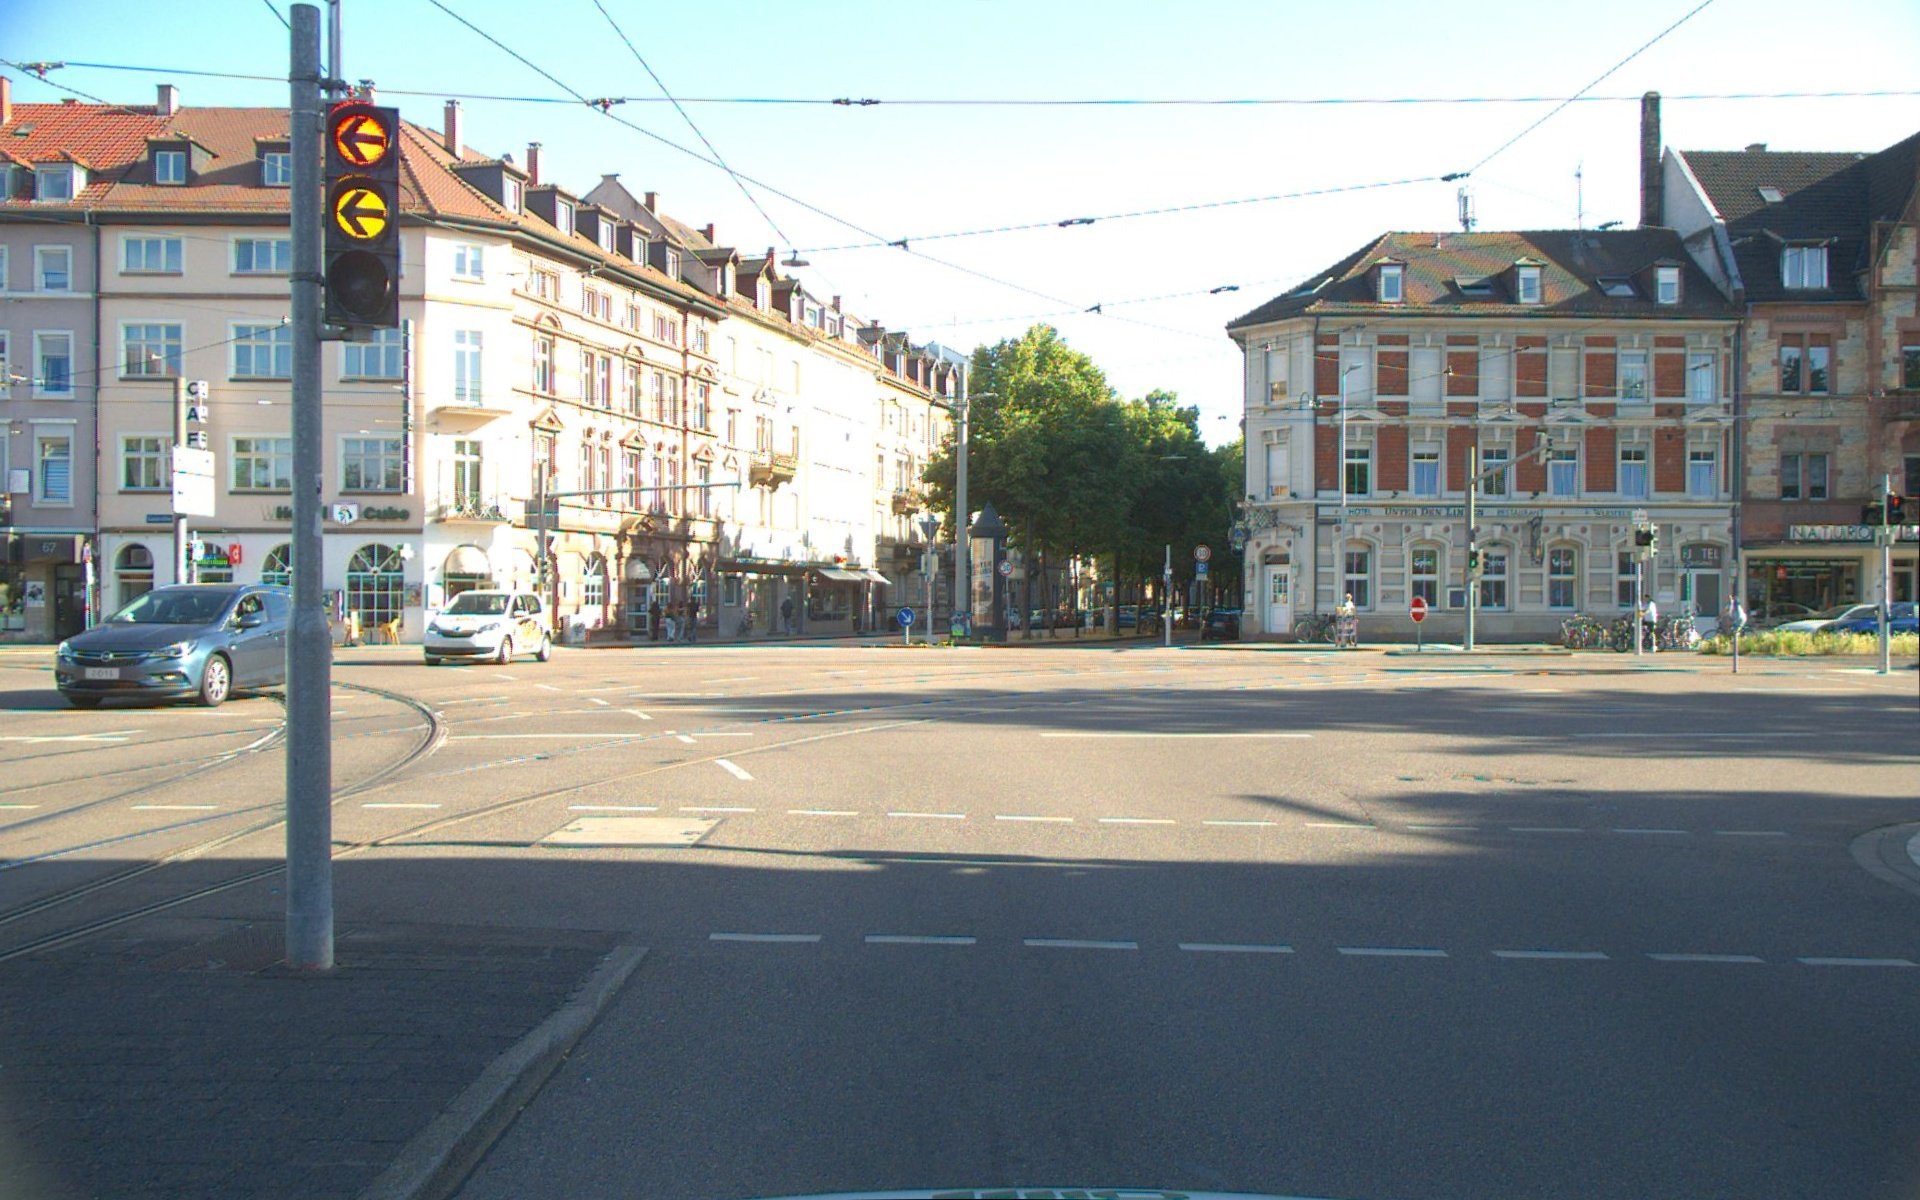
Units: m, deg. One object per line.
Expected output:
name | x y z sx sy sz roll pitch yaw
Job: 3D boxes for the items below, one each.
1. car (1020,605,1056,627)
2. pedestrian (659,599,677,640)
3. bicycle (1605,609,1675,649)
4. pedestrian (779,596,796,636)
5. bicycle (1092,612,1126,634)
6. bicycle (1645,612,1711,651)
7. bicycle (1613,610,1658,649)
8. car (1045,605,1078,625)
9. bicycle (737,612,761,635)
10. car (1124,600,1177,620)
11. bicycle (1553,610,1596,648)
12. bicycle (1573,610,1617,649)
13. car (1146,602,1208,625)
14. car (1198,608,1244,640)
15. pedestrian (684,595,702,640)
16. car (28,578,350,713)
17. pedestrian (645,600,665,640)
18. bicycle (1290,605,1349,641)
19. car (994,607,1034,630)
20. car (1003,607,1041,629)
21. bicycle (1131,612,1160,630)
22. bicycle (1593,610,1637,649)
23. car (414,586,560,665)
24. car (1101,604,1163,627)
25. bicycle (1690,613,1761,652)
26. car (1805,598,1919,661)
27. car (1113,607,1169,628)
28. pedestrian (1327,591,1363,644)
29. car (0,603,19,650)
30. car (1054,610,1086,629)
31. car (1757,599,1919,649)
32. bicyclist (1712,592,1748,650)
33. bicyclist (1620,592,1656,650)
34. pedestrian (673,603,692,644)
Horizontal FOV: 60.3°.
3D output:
car | 5.795 1.172 122.658 1.951 1.523 4.037 0 0 13
pedestrian | -12.035 0.796 68.232 0.539 1.670 0.538 0 0 14
bicycle | 21.065 0.900 51.233 1.920 1.211 0.602 0 0 2
pedestrian | -8.528 0.797 81.641 0.667 1.942 0.633 0 0 15
bicycle | 7.469 1.161 82.847 0.577 1.086 1.924 0 0 -37
bicycle | 23.046 0.999 53.114 1.926 1.211 0.677 0 0 -13
bicycle | 21.825 0.942 53.494 0.663 1.211 1.967 0 0 0
car | 8.137 1.188 131.864 1.951 1.523 4.037 0 0 13
bicycle | -10.130 1.110 79.374 0.484 1.086 1.771 0 0 15
car | 15.505 0.805 134.629 3.910 1.572 1.998 0 0 28
bicycle | 19.835 0.925 53.444 0.663 1.211 1.967 0 0 0
bicycle | 20.524 0.952 53.481 0.663 1.211 1.967 0 0 0
car | 15.308 0.954 116.739 3.913 1.572 1.996 0 0 30
car | 13.075 1.164 82.590 1.951 1.523 4.037 0 0 13
pedestrian | -11.192 0.725 69.326 0.567 1.868 0.633 0 0 15
car | -9.565 0.512 20.986 1.736 1.523 4.575 0 0 3
pedestrian | -12.597 0.823 68.322 0.613 1.670 0.538 0 0 15
bicycle | 12.461 0.800 57.347 1.919 1.211 0.546 0 0 4
car | 3.704 1.235 112.904 1.951 1.523 4.037 0 0 13
car | 4.449 1.267 117.402 1.951 1.523 4.037 0 0 13
bicycle | 11.165 1.269 99.394 0.577 1.086 1.924 0 0 -37
bicycle | 21.162 0.935 53.491 0.663 1.211 1.967 0 0 0
car | -9.531 0.487 33.578 1.681 1.523 3.586 0 0 5
car | 12.032 1.046 115.824 3.910 1.572 1.998 0 0 28
bicycle | 23.935 1.002 51.733 1.919 1.211 0.602 0 0 9
car | 25.918 0.790 45.944 3.906 1.697 1.954 0 0 -2
car | 14.069 1.327 128.492 3.910 1.572 1.998 0 0 28
pedestrian | 12.706 0.570 54.582 0.709 1.699 0.929 0 0 -33
car | -32.475 0.833 52.139 4.547 1.465 1.743 0 -1 -4
car | 9.112 1.617 136.639 1.951 1.523 4.037 0 0 13
car | 25.970 0.701 48.940 3.906 1.437 1.845 0 0 -2
bicyclist | 24.058 0.649 51.705 0.884 1.795 0.602 0 0 10
bicyclist | 21.002 0.646 51.231 0.854 1.795 0.602 0 0 2
pedestrian | -11.437 0.981 68.151 0.539 1.670 0.633 0 0 13
